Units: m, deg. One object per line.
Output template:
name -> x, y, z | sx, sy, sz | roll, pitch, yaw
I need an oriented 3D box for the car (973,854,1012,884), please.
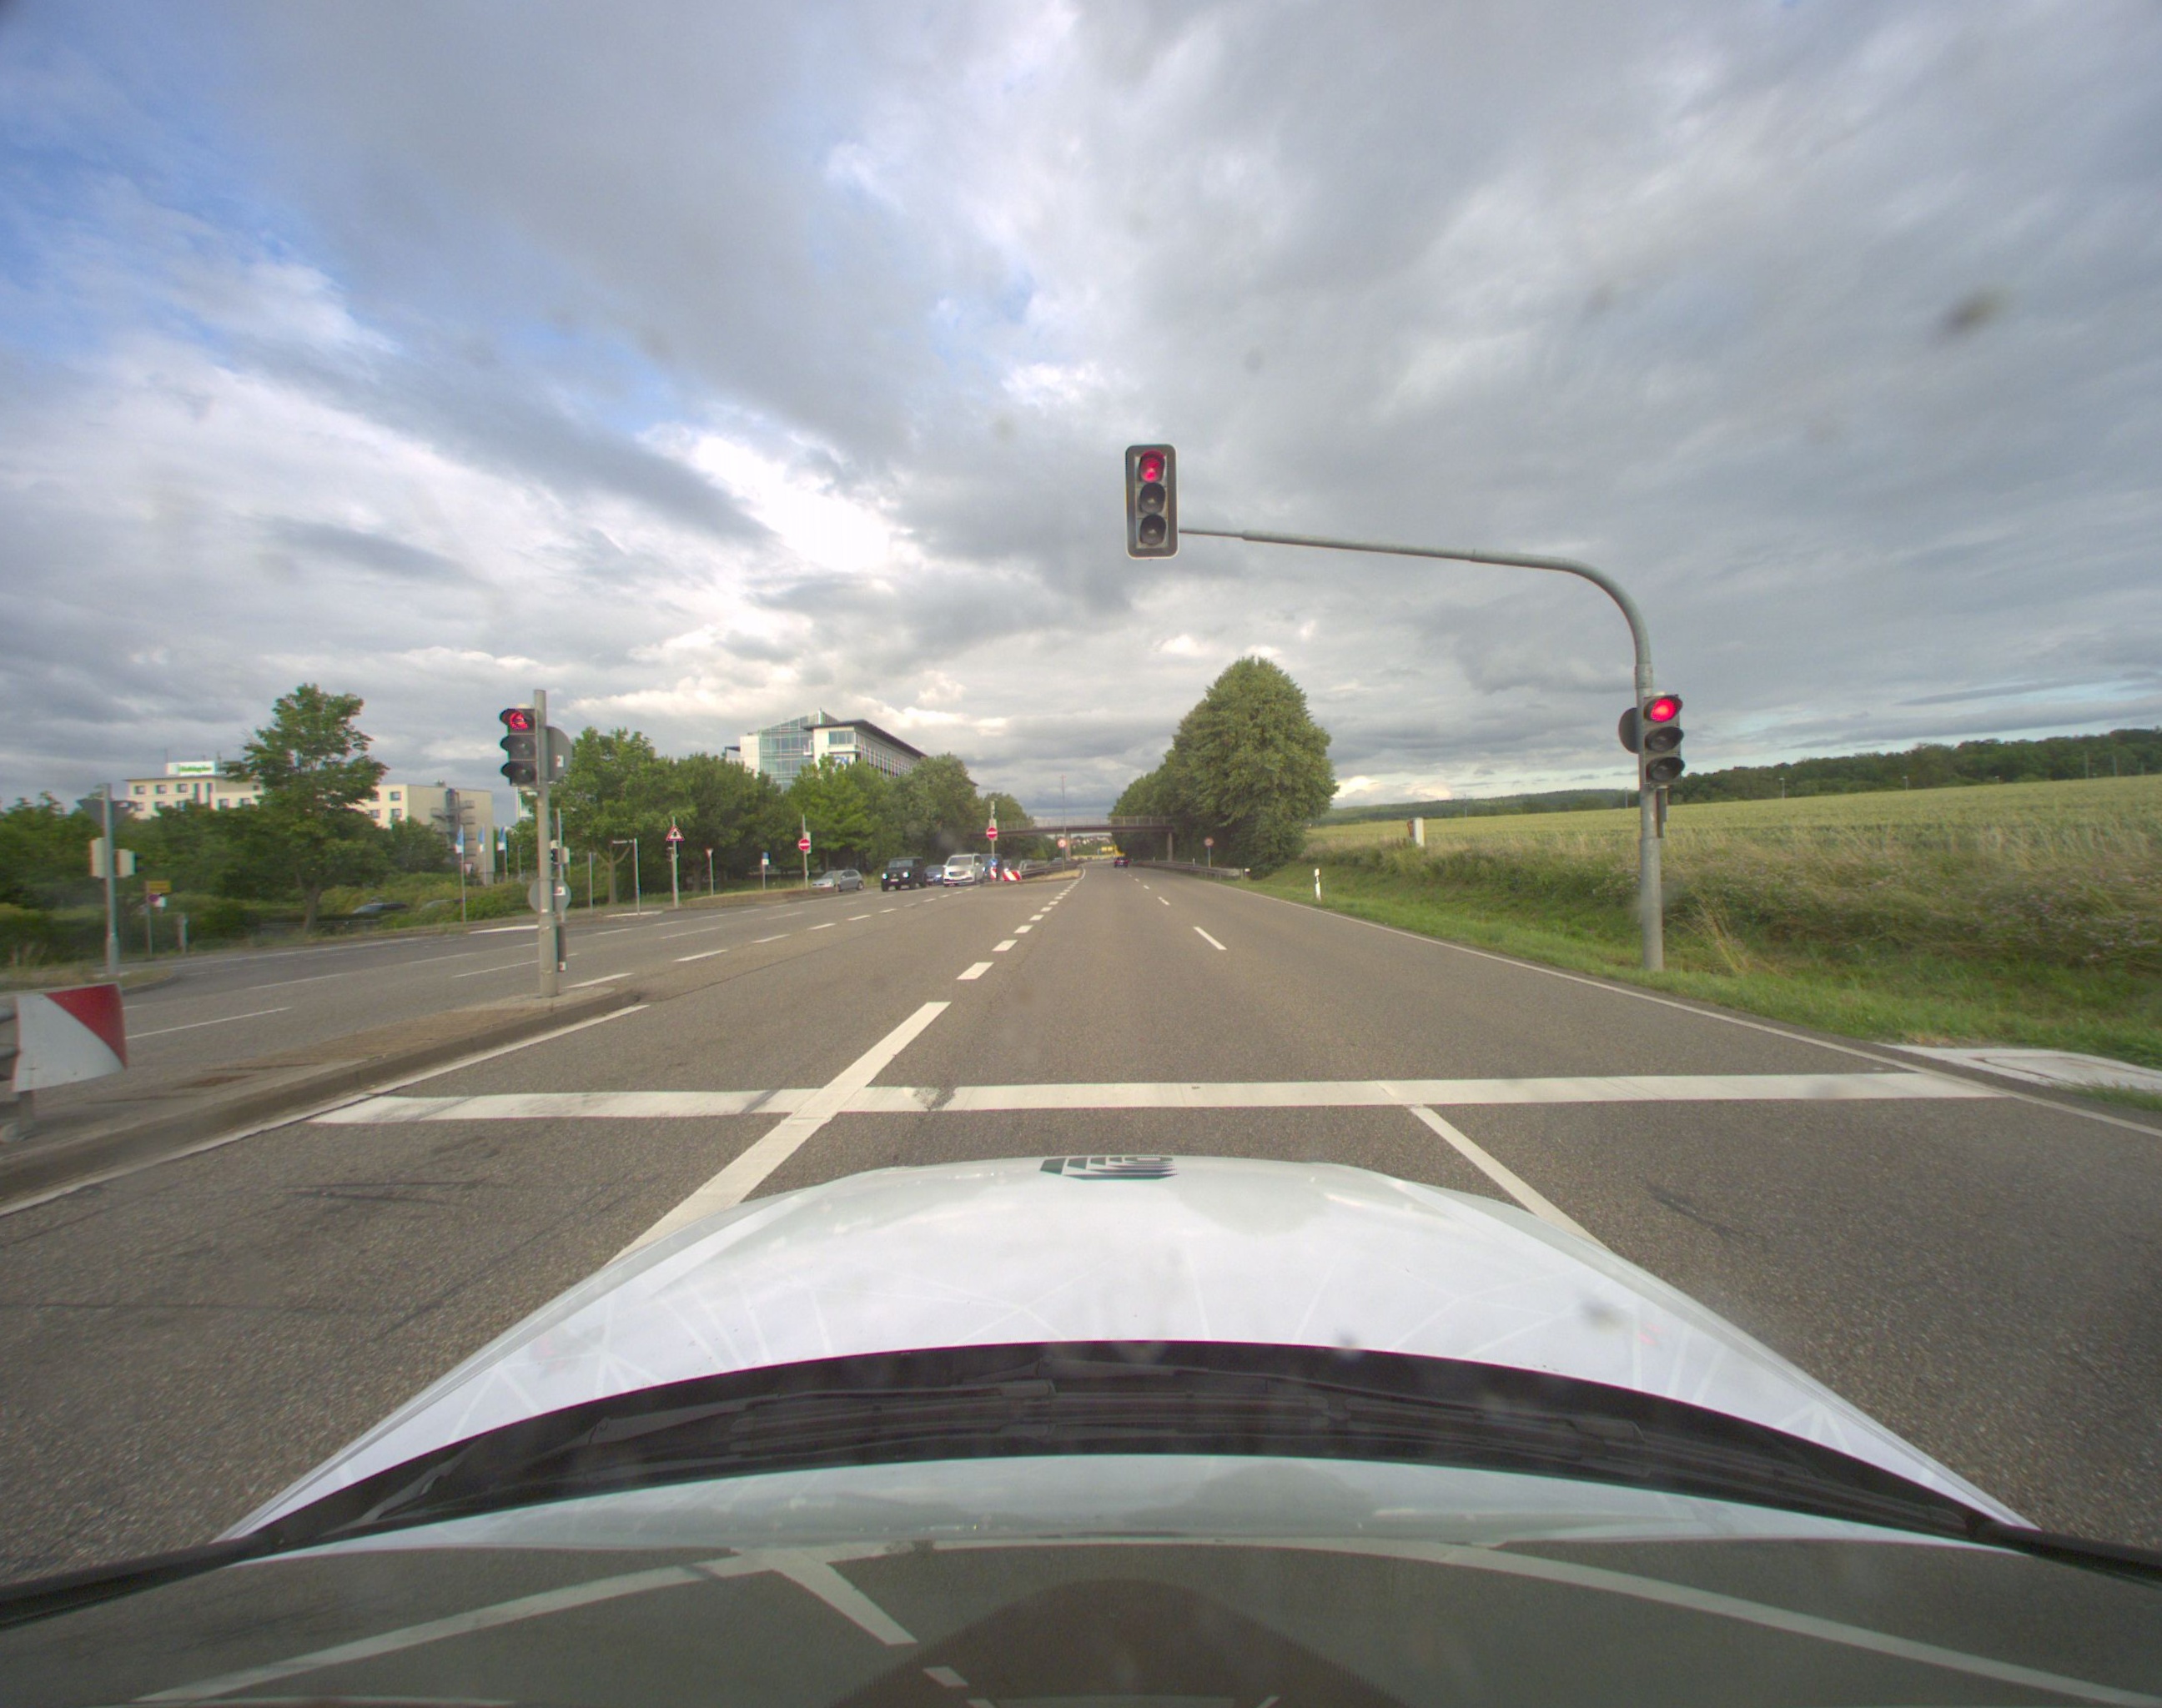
car -> -6.201, 1.065, 57.637 | 2.076, 2.014, 5.216 | 0, -1, 1

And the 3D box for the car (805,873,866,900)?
car -> -15.886, 2.111, 52.825 | 1.567, 1.342, 3.773 | -5, 0, 25

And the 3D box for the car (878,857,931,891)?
car -> -10.735, 1.182, 49.890 | 2.076, 2.014, 5.216 | 0, -1, 1

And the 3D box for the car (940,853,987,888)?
car -> -7.115, 0.958, 49.918 | 2.076, 2.014, 5.216 | 0, -1, 1

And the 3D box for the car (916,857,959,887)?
car -> -10.042, 1.245, 57.379 | 2.076, 2.014, 5.216 | 0, -1, 1

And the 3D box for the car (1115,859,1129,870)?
car -> 5.769, 1.449, 114.073 | 1.872, 1.552, 4.001 | 0, -1, 2

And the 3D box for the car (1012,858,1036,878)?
car -> -5.914, 1.470, 85.085 | 2.076, 2.014, 5.216 | 0, -1, 1
